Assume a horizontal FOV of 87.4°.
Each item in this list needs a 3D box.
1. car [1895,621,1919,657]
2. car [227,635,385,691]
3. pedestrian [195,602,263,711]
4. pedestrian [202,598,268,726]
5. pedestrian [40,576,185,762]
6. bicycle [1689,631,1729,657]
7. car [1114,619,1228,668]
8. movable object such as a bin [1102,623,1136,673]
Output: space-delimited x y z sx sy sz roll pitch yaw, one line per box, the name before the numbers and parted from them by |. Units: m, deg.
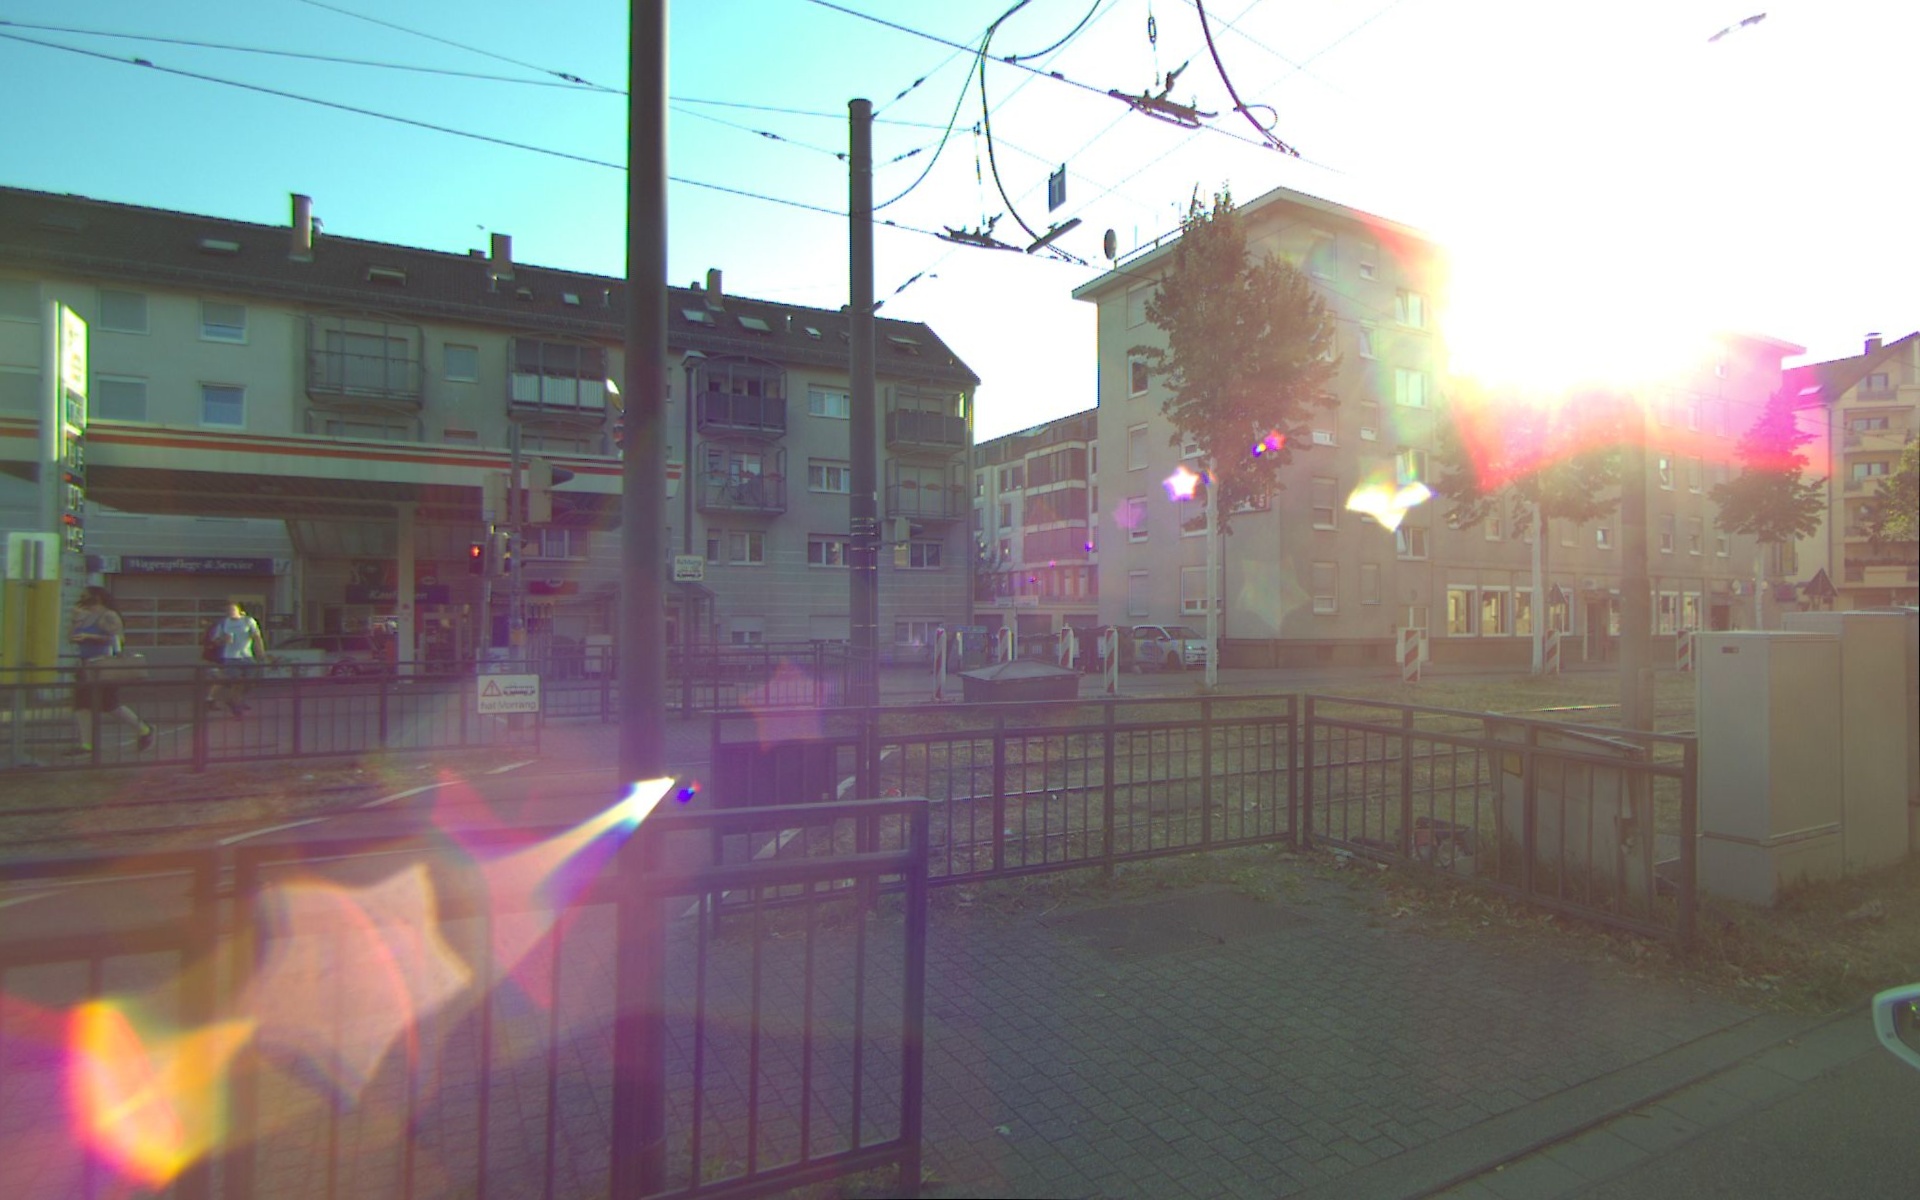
car | 44.130 1.720 44.989 4.873 1.580 1.805 1 -2 -28
car | -19.309 1.824 29.859 3.783 1.543 1.804 1 -2 -30
pedestrian | -12.271 0.936 16.892 0.851 1.770 0.749 1 -1 -32
pedestrian | -11.421 0.956 15.847 0.747 1.957 0.853 1 -1 -31
pedestrian | -8.250 0.622 9.779 0.923 1.676 0.922 2 1 39
bicycle | 33.156 1.940 44.460 1.756 1.129 0.743 1 -2 -29
car | 6.945 1.451 33.403 1.793 1.532 3.805 1 -3 -25
movable object such as a bin | 4.652 1.391 29.344 0.740 1.419 0.660 1 -2 -30
